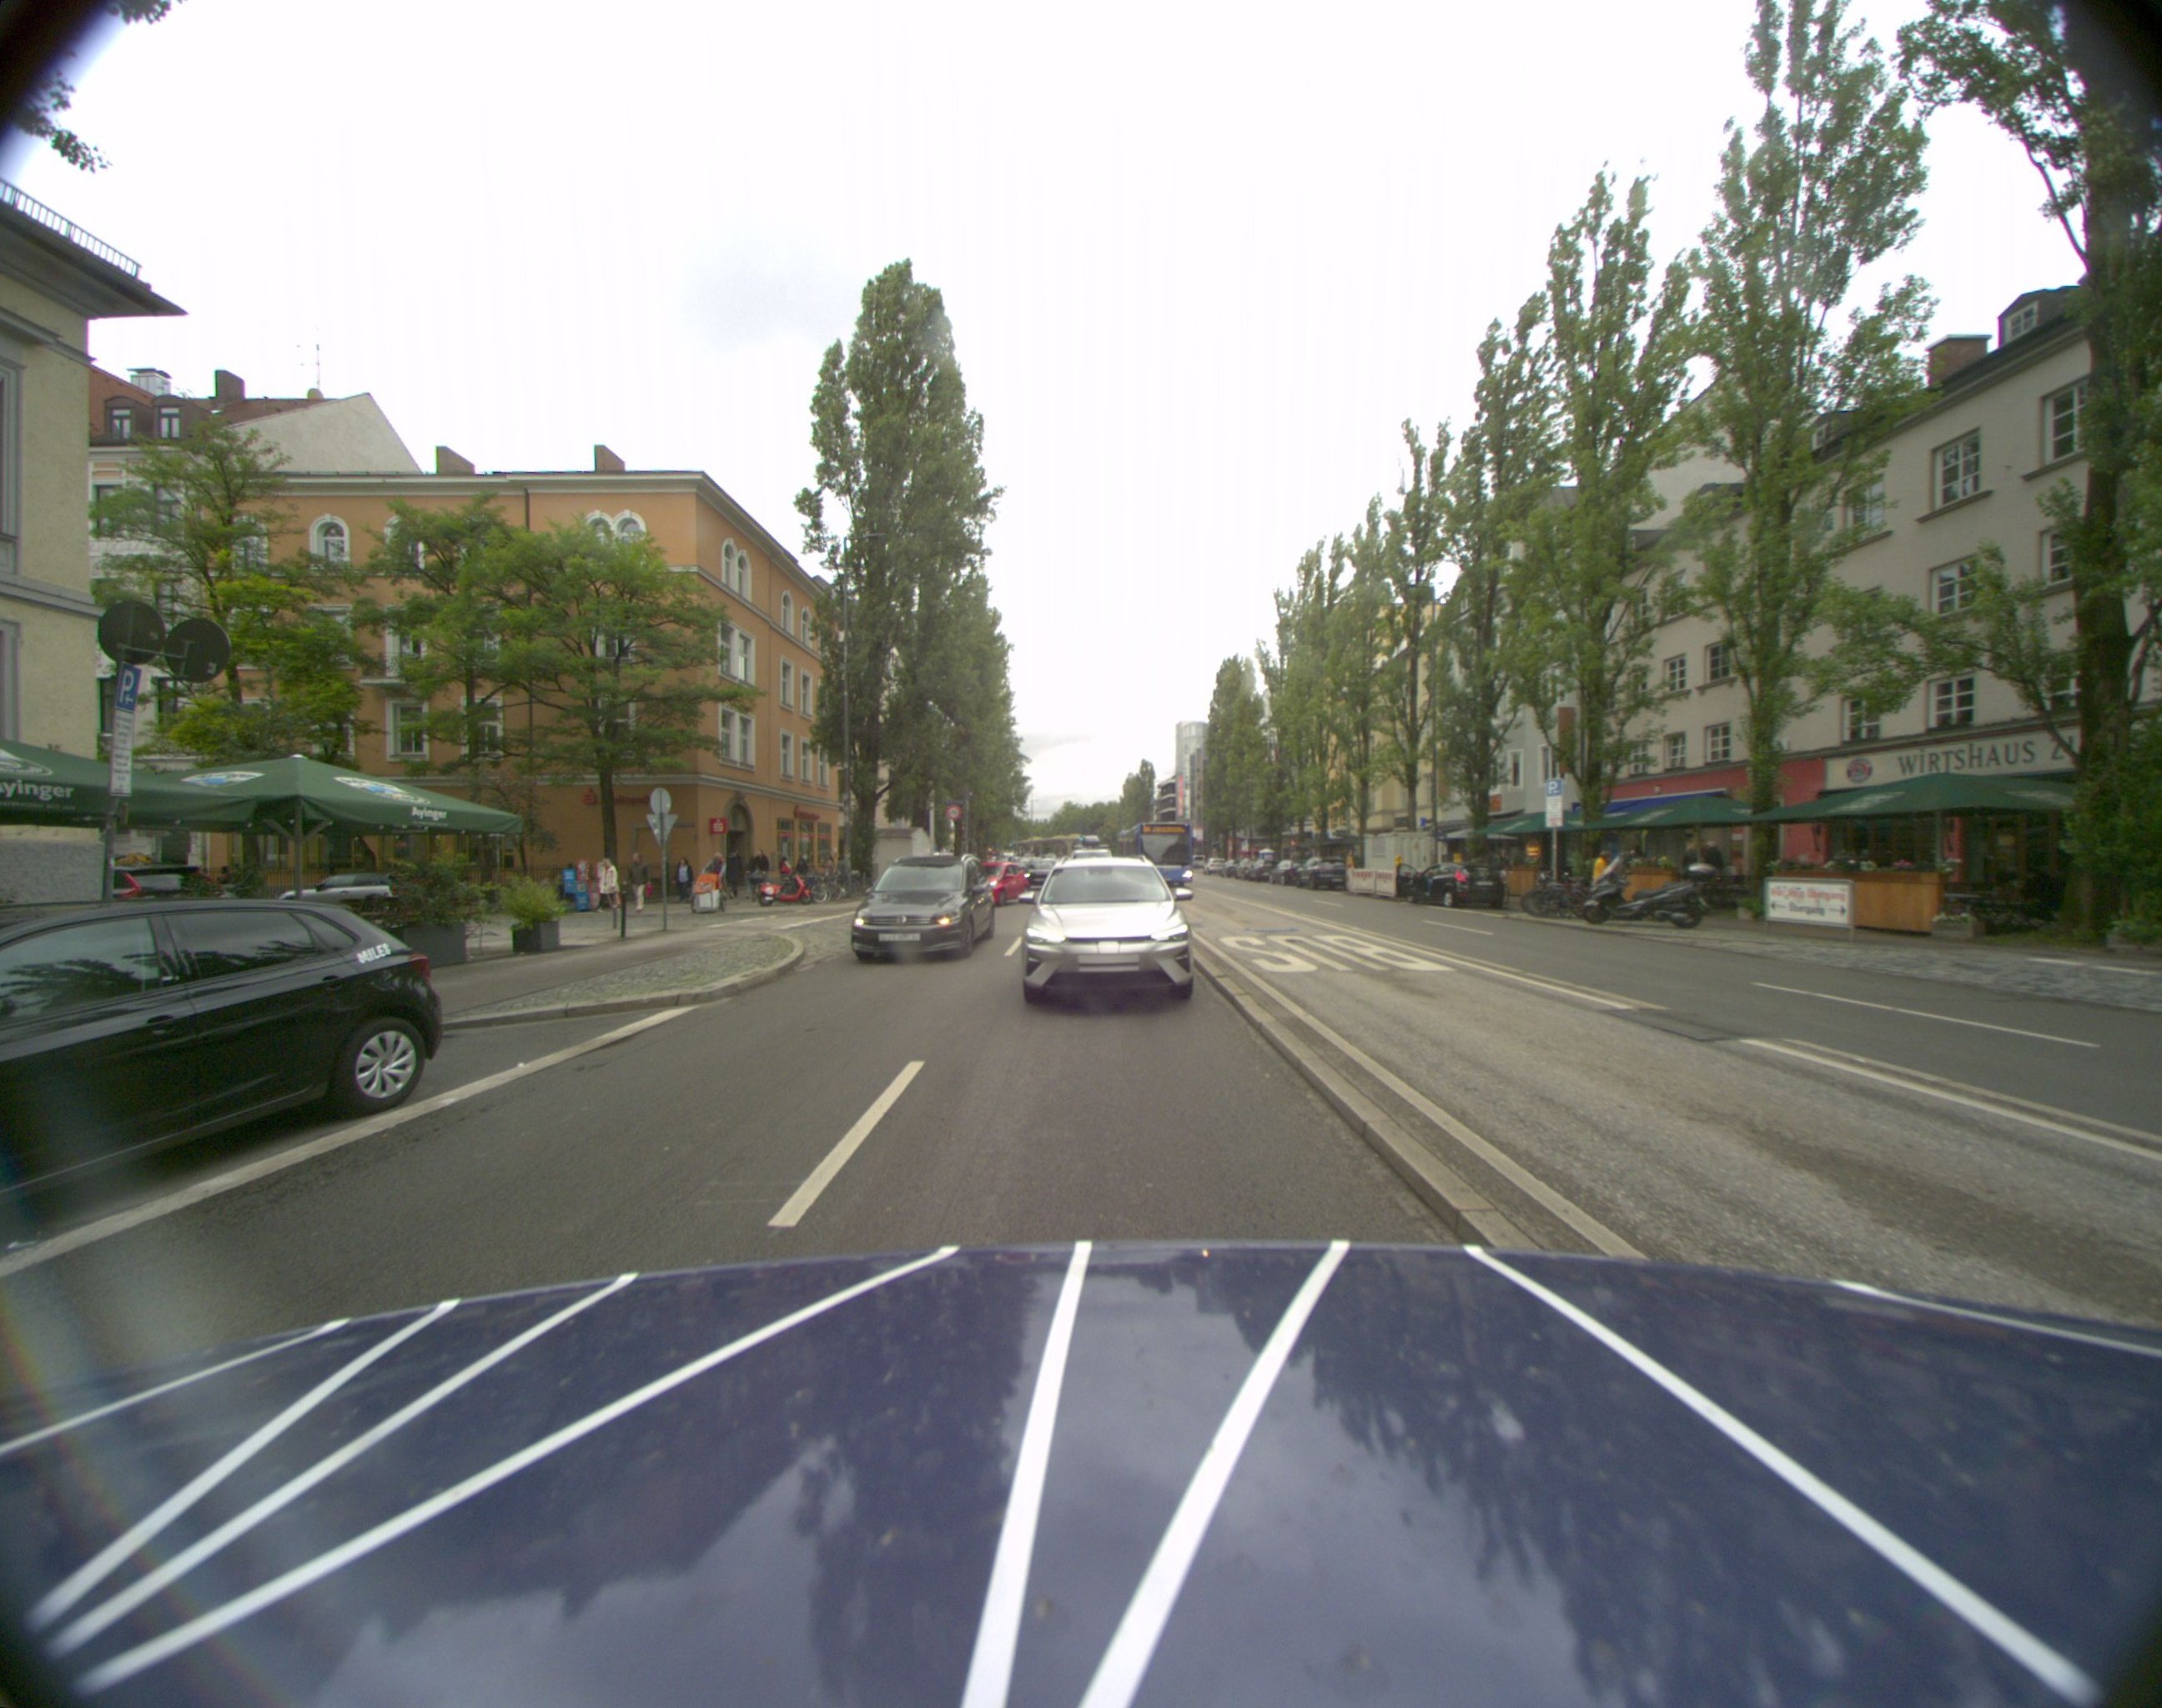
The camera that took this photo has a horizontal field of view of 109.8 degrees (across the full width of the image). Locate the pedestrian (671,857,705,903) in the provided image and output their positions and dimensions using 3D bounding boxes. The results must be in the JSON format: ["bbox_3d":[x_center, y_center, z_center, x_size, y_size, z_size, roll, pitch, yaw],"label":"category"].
[{"bbox_3d":[-13.931,0.912,26.946,0.745,1.562,0.664,-2,1,4],"label":"pedestrian"}]

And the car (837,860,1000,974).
[{"bbox_3d":[-2.595,0.943,13.183,1.882,1.582,4.192,-2,0,0],"label":"car"}]

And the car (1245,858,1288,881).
[{"bbox_3d":[12.316,1.002,50.636,1.802,1.432,4.574,1,0,1],"label":"car"}]

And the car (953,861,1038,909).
[{"bbox_3d":[-2.857,1.013,26.260,1.614,1.425,4.007,-1,0,14],"label":"car"}]

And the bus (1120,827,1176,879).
[{"bbox_3d":[3.994,-0.051,47.598,2.690,2.932,10.052,0,0,0],"label":"bus"}]

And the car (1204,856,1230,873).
[{"bbox_3d":[12.878,1.002,72.102,1.802,1.568,4.104,1,0,1],"label":"car"}]

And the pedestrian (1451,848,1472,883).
[{"bbox_3d":[20.688,0.624,41.304,0.699,1.915,0.905,0,1,4],"label":"pedestrian"}]

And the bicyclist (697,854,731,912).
[{"bbox_3d":[-11.272,0.870,23.363,0.831,1.747,0.666,-1,1,-16],"label":"bicyclist"}]

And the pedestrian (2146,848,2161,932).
[{"bbox_3d":[21.288,0.705,14.464,0.699,1.637,0.929,0,1,6],"label":"pedestrian"}]

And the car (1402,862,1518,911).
[{"bbox_3d":[12.183,1.008,24.727,1.760,1.414,3.784,1,0,-2],"label":"car"}]

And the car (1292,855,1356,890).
[{"bbox_3d":[12.108,0.874,38.139,1.802,1.603,4.574,1,0,1],"label":"car"}]

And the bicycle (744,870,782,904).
[{"bbox_3d":[-11.465,1.163,27.452,0.737,1.113,2.100,-1,0,-7],"label":"bicycle"}]

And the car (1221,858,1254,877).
[{"bbox_3d":[12.603,1.046,61.496,1.802,1.432,4.574,1,0,1],"label":"car"}]

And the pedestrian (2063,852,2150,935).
[{"bbox_3d":[20.296,0.765,15.051,0.699,1.614,0.732,0,1,4],"label":"pedestrian"}]

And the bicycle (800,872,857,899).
[{"bbox_3d":[-9.490,1.182,28.608,1.945,1.004,0.561,0,0,1],"label":"bicycle"}]

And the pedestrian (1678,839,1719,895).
[{"bbox_3d":[21.616,0.443,26.623,0.699,1.915,0.905,0,1,4],"label":"pedestrian"}]

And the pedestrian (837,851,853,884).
[{"bbox_3d":[-12.328,0.717,39.768,0.619,1.684,0.574,-2,1,-3],"label":"pedestrian"}]

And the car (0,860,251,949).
[{"bbox_3d":[-21.332,1.076,16.589,4.425,1.692,1.972,-2,1,5],"label":"car"}]

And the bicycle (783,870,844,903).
[{"bbox_3d":[-9.351,1.127,26.609,1.945,1.130,0.561,0,1,1],"label":"bicycle"}]

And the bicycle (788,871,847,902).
[{"bbox_3d":[-9.444,1.155,27.260,1.945,1.082,0.561,0,1,1],"label":"bicycle"}]

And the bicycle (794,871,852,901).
[{"bbox_3d":[-9.503,1.159,28.003,1.945,1.069,0.561,0,1,1],"label":"bicycle"}]

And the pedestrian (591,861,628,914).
[{"bbox_3d":[-14.393,1.020,23.198,0.699,1.562,0.575,-2,1,3],"label":"pedestrian"}]

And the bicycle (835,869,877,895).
[{"bbox_3d":[-9.093,1.131,30.738,1.602,1.004,0.342,0,1,-6],"label":"bicycle"}]

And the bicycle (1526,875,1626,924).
[{"bbox_3d":[11.921,1.074,18.350,1.976,1.119,0.283,-1,1,37],"label":"bicycle"}]

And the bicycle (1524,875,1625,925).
[{"bbox_3d":[11.747,1.083,18.126,1.976,1.119,0.283,-1,1,37],"label":"bicycle"}]

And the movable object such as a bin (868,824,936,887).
[{"bbox_3d":[-9.422,0.059,40.402,2.445,3.119,4.544,1,0,1],"label":"movable object such as a bin"}]

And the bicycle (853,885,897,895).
[{"bbox_3d":[-8.544,1.507,31.585,1.677,0.371,0.830,1,0,-7],"label":"bicycle"}]

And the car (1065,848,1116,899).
[{"bbox_3d":[0.354,0.713,30.828,1.839,1.831,5.129,-2,1,0],"label":"car"}]

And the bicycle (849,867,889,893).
[{"bbox_3d":[-9.024,1.086,32.331,1.604,1.078,0.341,-1,1,-22],"label":"bicycle"}]

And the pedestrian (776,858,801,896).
[{"bbox_3d":[-12.348,0.953,32.087,0.745,1.562,0.614,-2,1,3],"label":"pedestrian"}]

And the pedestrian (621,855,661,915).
[{"bbox_3d":[-13.287,0.933,22.960,0.699,1.756,0.732,-2,1,4],"label":"pedestrian"}]

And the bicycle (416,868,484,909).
[{"bbox_3d":[-22.530,1.224,27.158,1.945,1.364,0.561,-1,0,2],"label":"bicycle"}]

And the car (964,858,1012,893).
[{"bbox_3d":[-4.543,1.002,37.646,1.789,1.544,4.498,-2,0,0],"label":"car"}]

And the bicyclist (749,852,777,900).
[{"bbox_3d":[-11.462,0.783,27.382,0.741,1.677,0.748,-1,1,-7],"label":"bicyclist"}]

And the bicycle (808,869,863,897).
[{"bbox_3d":[-9.480,1.118,29.356,1.945,1.078,0.561,0,1,1],"label":"bicycle"}]

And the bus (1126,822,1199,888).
[{"bbox_3d":[3.921,0.045,38.752,2.696,2.932,10.052,0,0,0],"label":"bus"}]

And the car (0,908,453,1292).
[{"bbox_3d":[-5.264,1.093,3.372,1.698,1.408,3.951,-1,0,-1],"label":"car"}]

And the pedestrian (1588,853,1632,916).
[{"bbox_3d":[14.627,0.842,21.024,0.732,1.716,0.700,0,1,-3],"label":"pedestrian"}]

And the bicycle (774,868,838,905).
[{"bbox_3d":[-9.390,1.094,25.965,1.945,1.232,0.561,0,1,1],"label":"bicycle"}]

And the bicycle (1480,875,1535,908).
[{"bbox_3d":[13.932,1.216,24.887,0.613,0.963,2.174,0,0,1],"label":"bicycle"}]

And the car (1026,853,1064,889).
[{"bbox_3d":[-1.897,0.834,38.871,1.707,1.683,4.001,-2,0,-5],"label":"car"}]

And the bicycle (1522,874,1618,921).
[{"bbox_3d":[12.230,1.069,19.041,1.976,1.119,0.343,-1,1,37],"label":"bicycle"}]

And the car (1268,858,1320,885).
[{"bbox_3d":[12.257,0.967,44.054,1.802,1.432,4.574,1,0,1],"label":"car"}]

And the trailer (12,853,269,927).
[{"bbox_3d":[-28.095,1.036,22.836,5.252,2.016,1.906,-1,0,-1],"label":"trailer"}]

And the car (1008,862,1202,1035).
[{"bbox_3d":[0.225,0.898,9.057,1.742,1.510,4.033,-2,0,0],"label":"car"}]

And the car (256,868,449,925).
[{"bbox_3d":[-22.294,1.269,23.381,3.997,1.511,1.906,-2,1,-1],"label":"car"}]

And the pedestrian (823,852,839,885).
[{"bbox_3d":[-12.990,0.742,39.479,0.634,1.684,0.574,-2,1,-3],"label":"pedestrian"}]

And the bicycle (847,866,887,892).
[{"bbox_3d":[-9.180,1.059,32.662,1.610,1.078,0.321,-1,1,-22],"label":"bicycle"}]

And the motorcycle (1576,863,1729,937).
[{"bbox_3d":[11.931,0.905,15.965,0.747,1.406,2.448,0,0,-33],"label":"motorcycle"}]

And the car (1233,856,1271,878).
[{"bbox_3d":[12.537,0.944,55.982,1.802,1.495,4.574,1,0,1],"label":"car"}]

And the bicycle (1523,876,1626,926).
[{"bbox_3d":[11.557,1.085,17.843,1.976,1.119,0.361,-1,1,37],"label":"bicycle"}]

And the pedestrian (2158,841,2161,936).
[{"bbox_3d":[19.741,0.618,13.197,0.699,1.712,0.950,0,0,4],"label":"pedestrian"}]

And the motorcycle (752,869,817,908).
[{"bbox_3d":[-9.739,1.105,25.003,1.963,1.214,0.514,-1,1,-25],"label":"motorcycle"}]

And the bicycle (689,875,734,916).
[{"bbox_3d":[-11.194,1.225,23.109,0.888,1.113,2.099,-1,0,-17],"label":"bicycle"}]

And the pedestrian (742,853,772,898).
[{"bbox_3d":[-12.269,0.804,28.784,0.746,1.651,0.771,-2,1,-4],"label":"pedestrian"}]

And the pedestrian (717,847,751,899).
[{"bbox_3d":[-13.061,0.701,28.600,0.840,1.937,0.802,-2,1,-2],"label":"pedestrian"}]

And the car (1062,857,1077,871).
[{"bbox_3d":[-1.365,1.184,94.283,1.789,1.604,4.498,-2,0,0],"label":"car"}]

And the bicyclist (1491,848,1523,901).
[{"bbox_3d":[13.932,0.661,24.853,0.606,1.695,0.816,-1,1,0],"label":"bicyclist"}]
